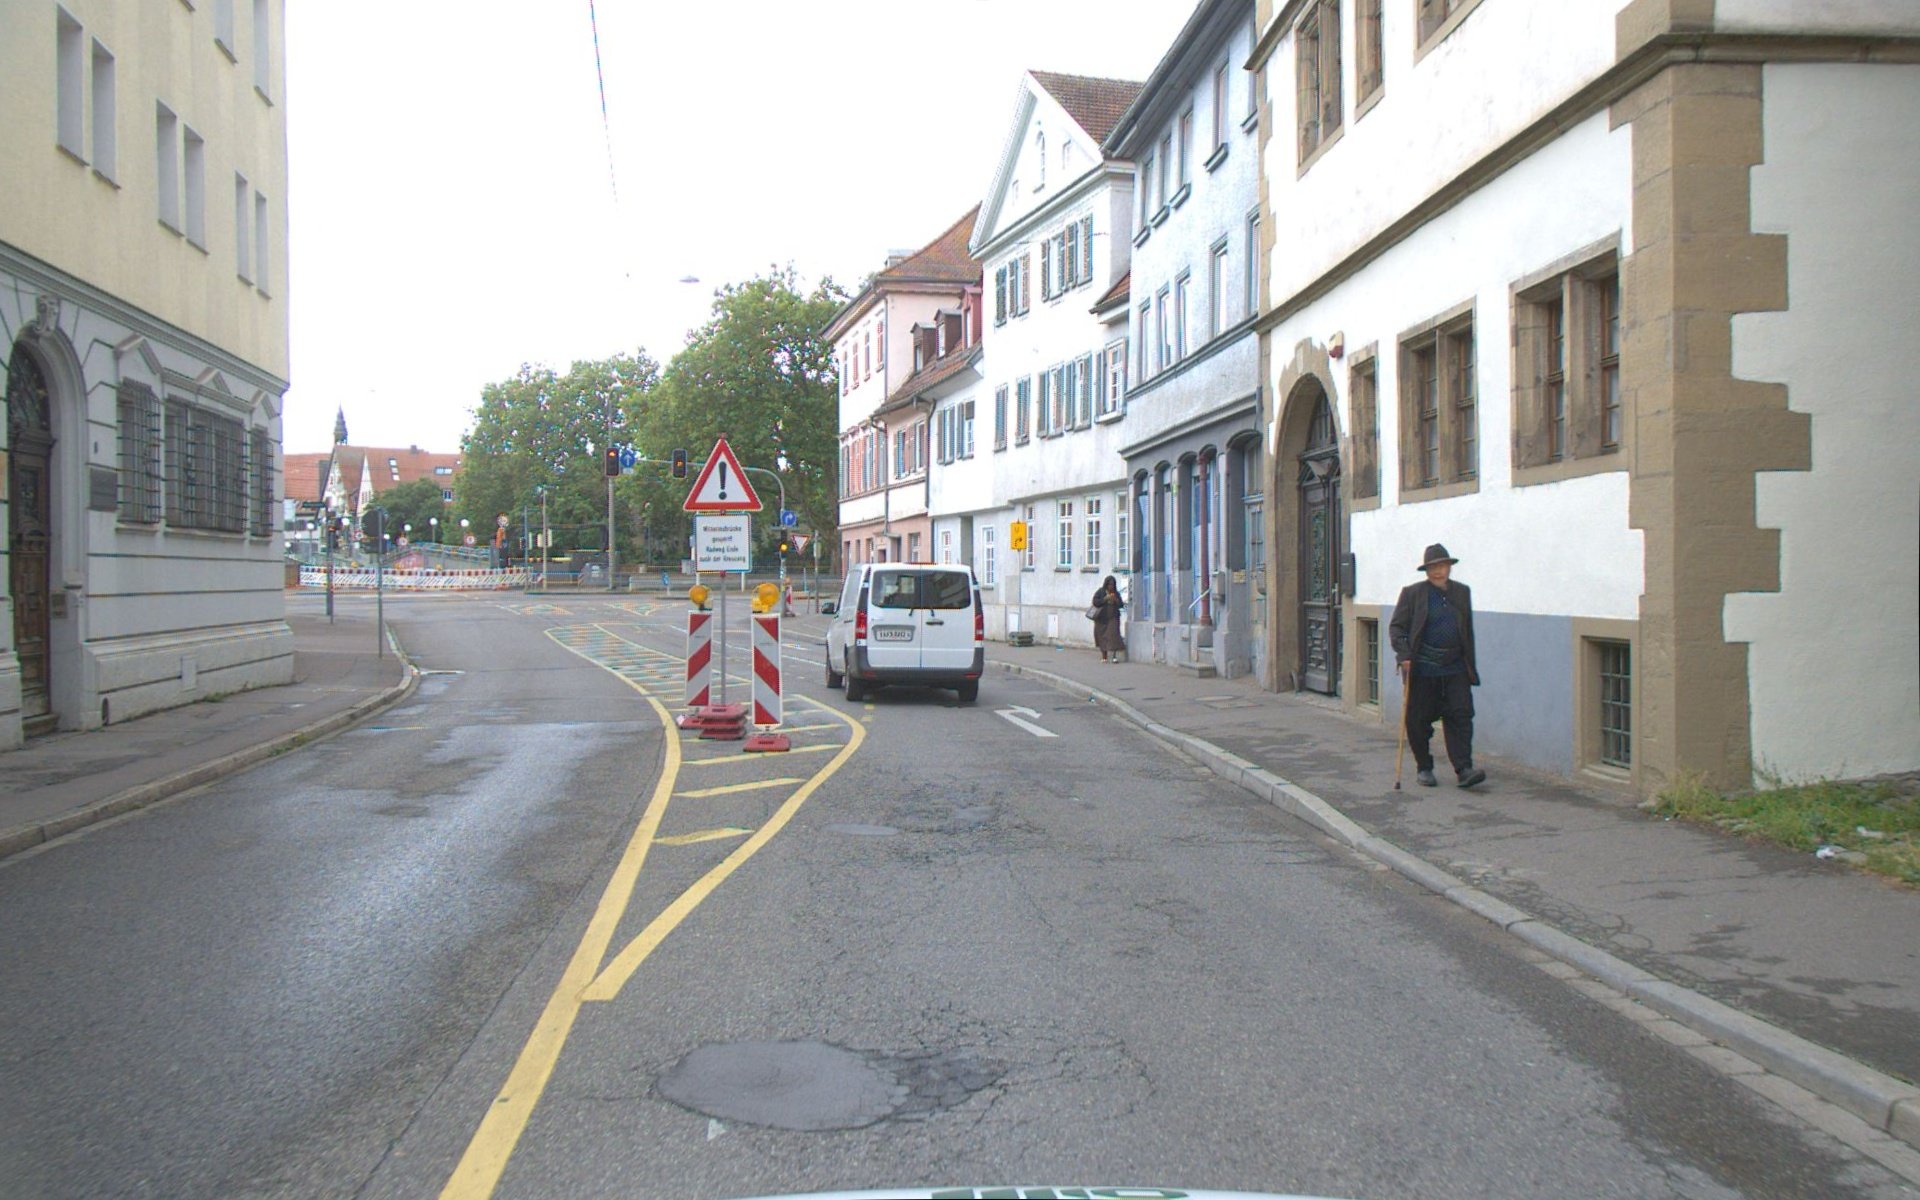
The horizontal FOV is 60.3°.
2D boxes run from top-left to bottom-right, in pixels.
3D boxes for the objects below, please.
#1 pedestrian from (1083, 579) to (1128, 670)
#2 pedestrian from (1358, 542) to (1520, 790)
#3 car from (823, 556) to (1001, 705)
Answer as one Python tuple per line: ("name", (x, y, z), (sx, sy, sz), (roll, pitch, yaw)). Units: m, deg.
("pedestrian", (2.760, 0.453, 31.378), (0.740, 1.696, 0.809), (1, 0, -2))
("pedestrian", (3.448, 0.459, 11.979), (0.815, 1.684, 0.944), (-2, 0, -1))
("car", (-0.802, 0.402, 24.129), (1.957, 1.956, 4.238), (1, 0, -10))
